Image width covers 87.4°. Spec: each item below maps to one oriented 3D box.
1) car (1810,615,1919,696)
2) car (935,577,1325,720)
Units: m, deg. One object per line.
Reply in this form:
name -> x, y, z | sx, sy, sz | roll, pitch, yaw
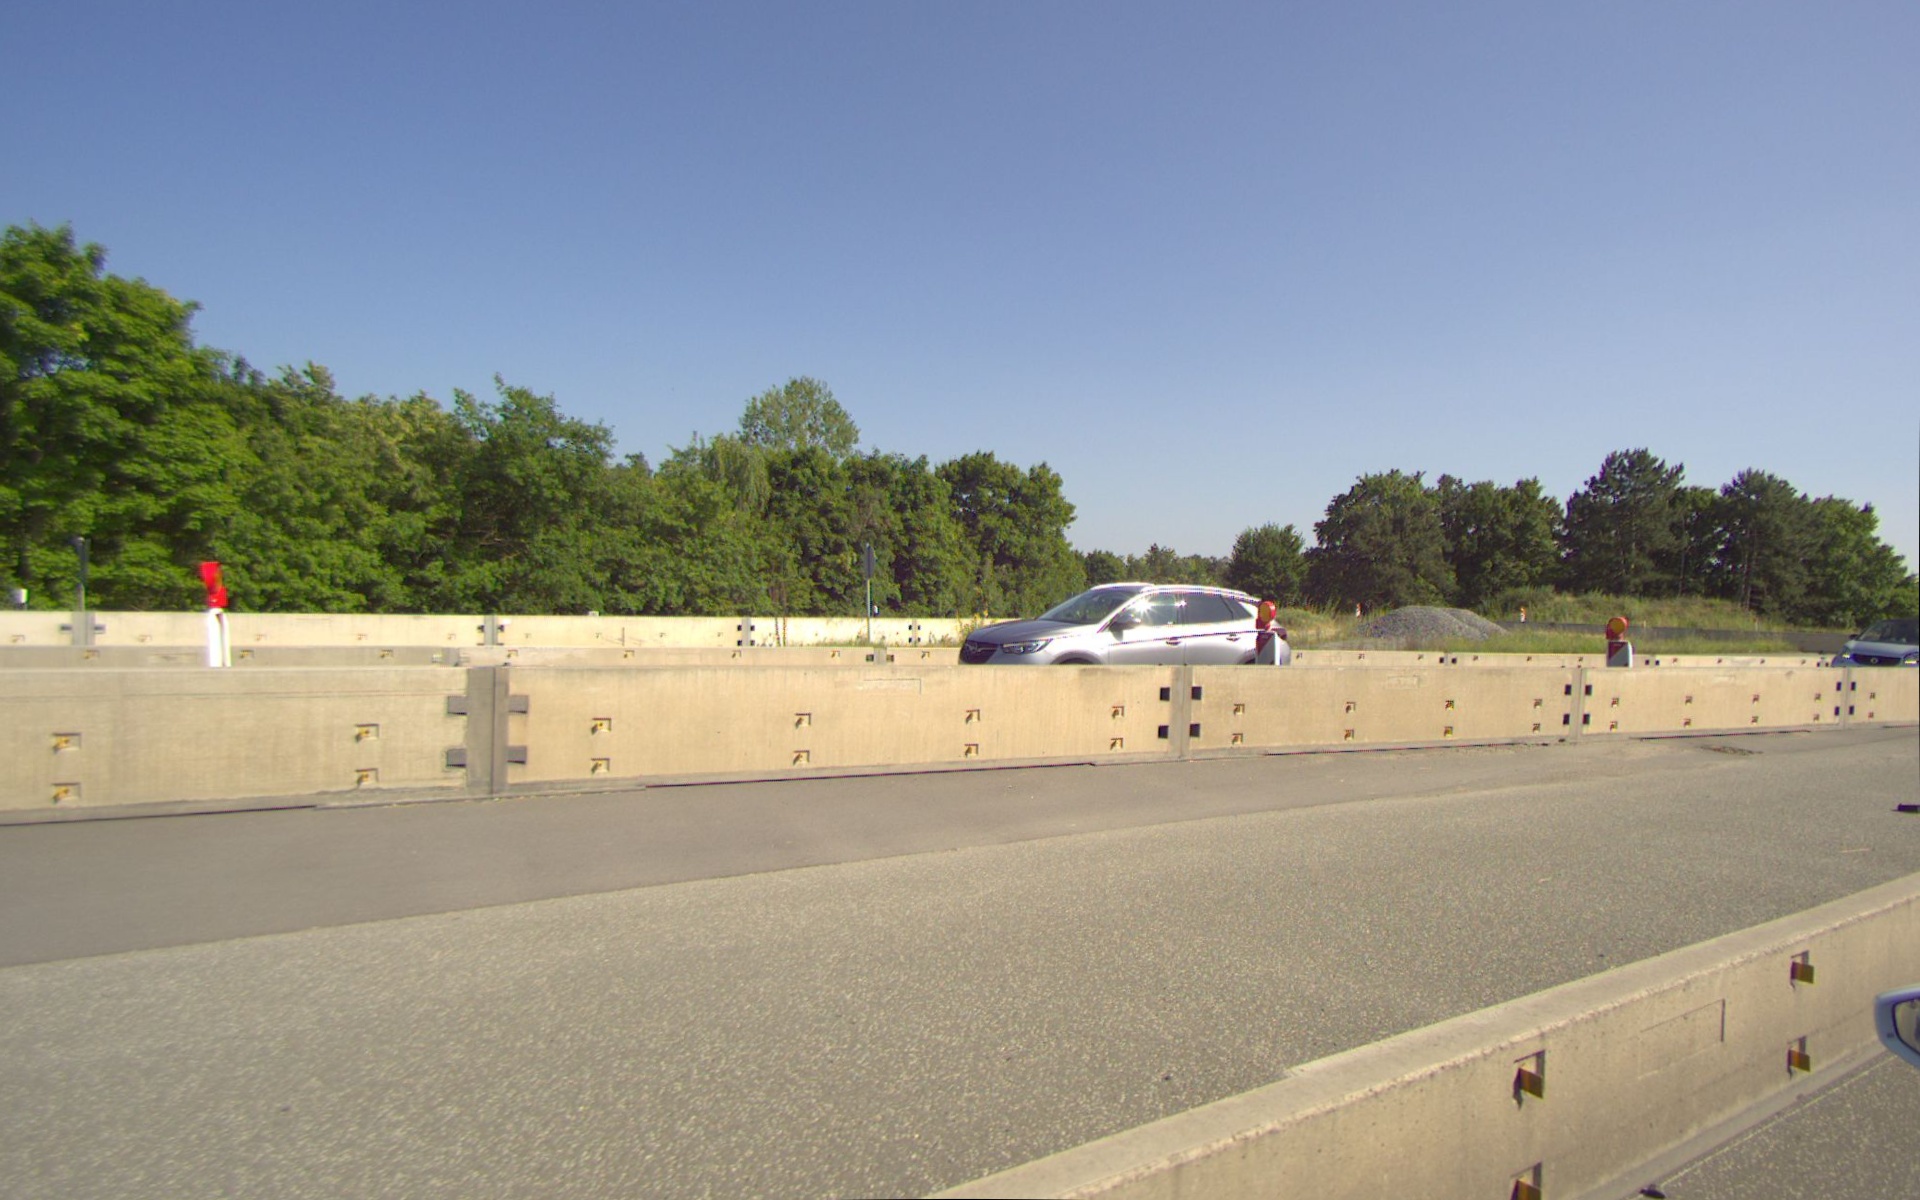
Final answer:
car -> 20.188, 1.150, 21.225 | 4.119, 1.536, 1.707 | 2, 1, -23
car -> 2.156, 0.553, 12.666 | 4.519, 1.536, 1.987 | 1, 1, -25
